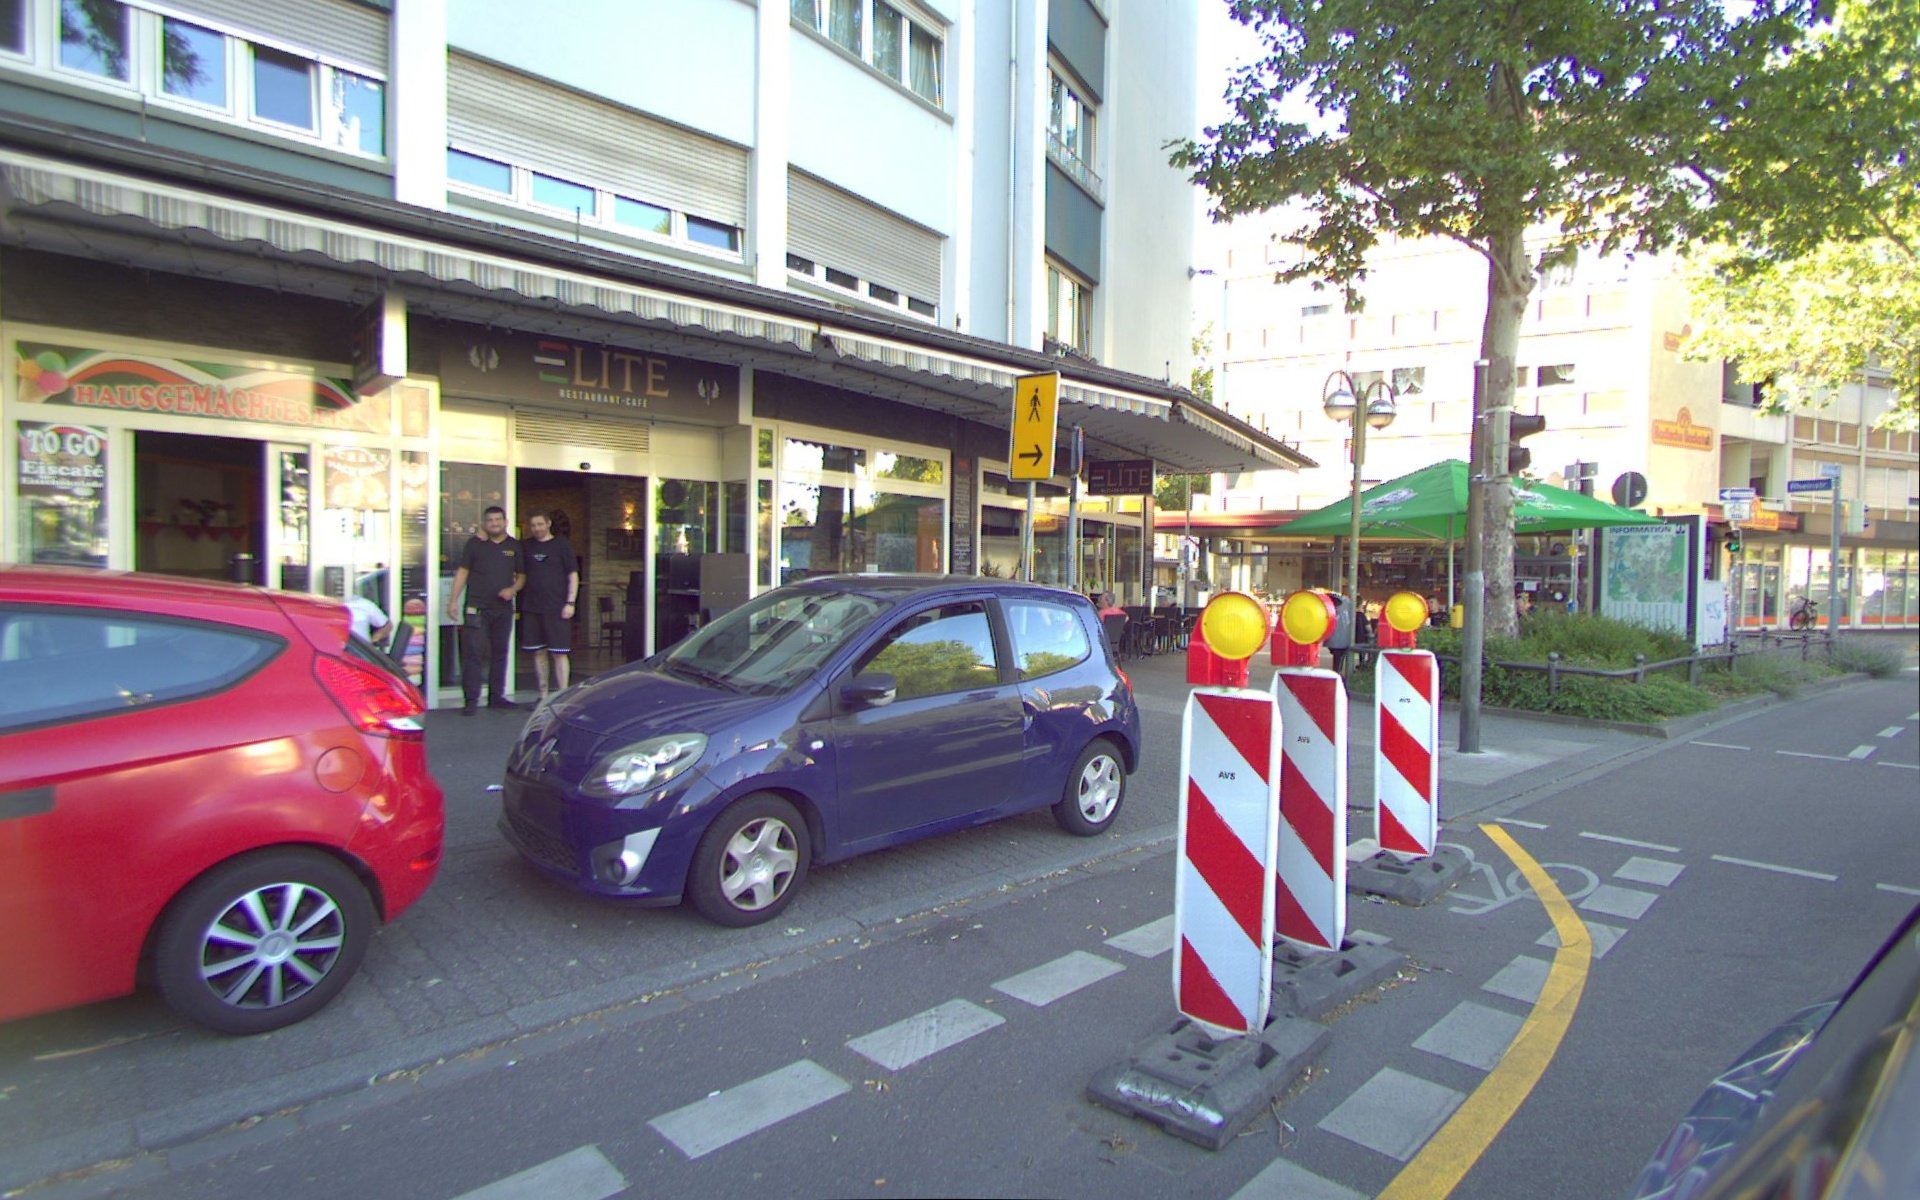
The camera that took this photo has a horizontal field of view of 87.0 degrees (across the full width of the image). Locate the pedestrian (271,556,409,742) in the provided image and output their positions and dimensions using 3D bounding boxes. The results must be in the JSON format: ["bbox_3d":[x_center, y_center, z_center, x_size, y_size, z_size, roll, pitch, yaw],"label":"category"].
[{"bbox_3d":[-4.767,0.318,7.754,0.765,1.247,1.207,-1,5,-38],"label":"pedestrian"}]

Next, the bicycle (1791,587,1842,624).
[{"bbox_3d":[28.188,0.174,33.288,1.933,1.157,0.530,0,1,-26],"label":"bicycle"}]

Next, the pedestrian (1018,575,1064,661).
[{"bbox_3d":[1.224,0.263,15.319,0.541,1.259,0.521,2,1,-7],"label":"pedestrian"}]

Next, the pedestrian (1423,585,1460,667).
[{"bbox_3d":[7.513,0.402,15.810,0.427,1.234,0.465,3,2,20],"label":"pedestrian"}]

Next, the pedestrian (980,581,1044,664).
[{"bbox_3d":[0.761,0.310,14.697,0.710,1.144,0.645,3,1,25],"label":"pedestrian"}]

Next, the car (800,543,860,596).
[{"bbox_3d":[-4.589,-1.080,36.208,1.960,1.771,4.004,1,1,-4],"label":"car"}]

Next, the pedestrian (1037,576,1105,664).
[{"bbox_3d":[1.645,0.286,14.958,0.664,1.233,0.706,3,1,43],"label":"pedestrian"}]

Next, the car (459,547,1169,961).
[{"bbox_3d":[-0.587,0.526,5.539,3.545,1.484,1.621,-1,4,-44],"label":"car"}]

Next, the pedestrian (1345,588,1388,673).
[{"bbox_3d":[6.001,0.437,14.954,0.460,1.235,0.432,1,0,5],"label":"pedestrian"}]

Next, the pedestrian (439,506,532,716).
[{"bbox_3d":[-4.155,0.076,8.855,0.586,1.756,0.589,1,3,-36],"label":"pedestrian"}]

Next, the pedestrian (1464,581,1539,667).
[{"bbox_3d":[8.476,0.354,15.860,0.752,1.301,0.721,0,1,-27],"label":"pedestrian"}]

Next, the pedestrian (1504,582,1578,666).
[{"bbox_3d":[9.327,0.362,16.262,0.753,1.301,0.720,0,1,-28],"label":"pedestrian"}]

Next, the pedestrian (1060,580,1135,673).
[{"bbox_3d":[1.914,0.356,14.068,0.838,1.213,0.644,3,1,27],"label":"pedestrian"}]

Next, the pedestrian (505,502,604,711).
[{"bbox_3d":[-3.630,0.040,9.048,0.635,1.780,0.612,1,3,-36],"label":"pedestrian"}]

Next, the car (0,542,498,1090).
[{"bbox_3d":[-3.589,0.562,2.894,1.667,1.446,3.786,5,4,44],"label":"car"}]

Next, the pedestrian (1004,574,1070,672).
[{"bbox_3d":[1.050,0.304,13.793,0.644,1.267,0.711,3,1,25],"label":"pedestrian"}]
